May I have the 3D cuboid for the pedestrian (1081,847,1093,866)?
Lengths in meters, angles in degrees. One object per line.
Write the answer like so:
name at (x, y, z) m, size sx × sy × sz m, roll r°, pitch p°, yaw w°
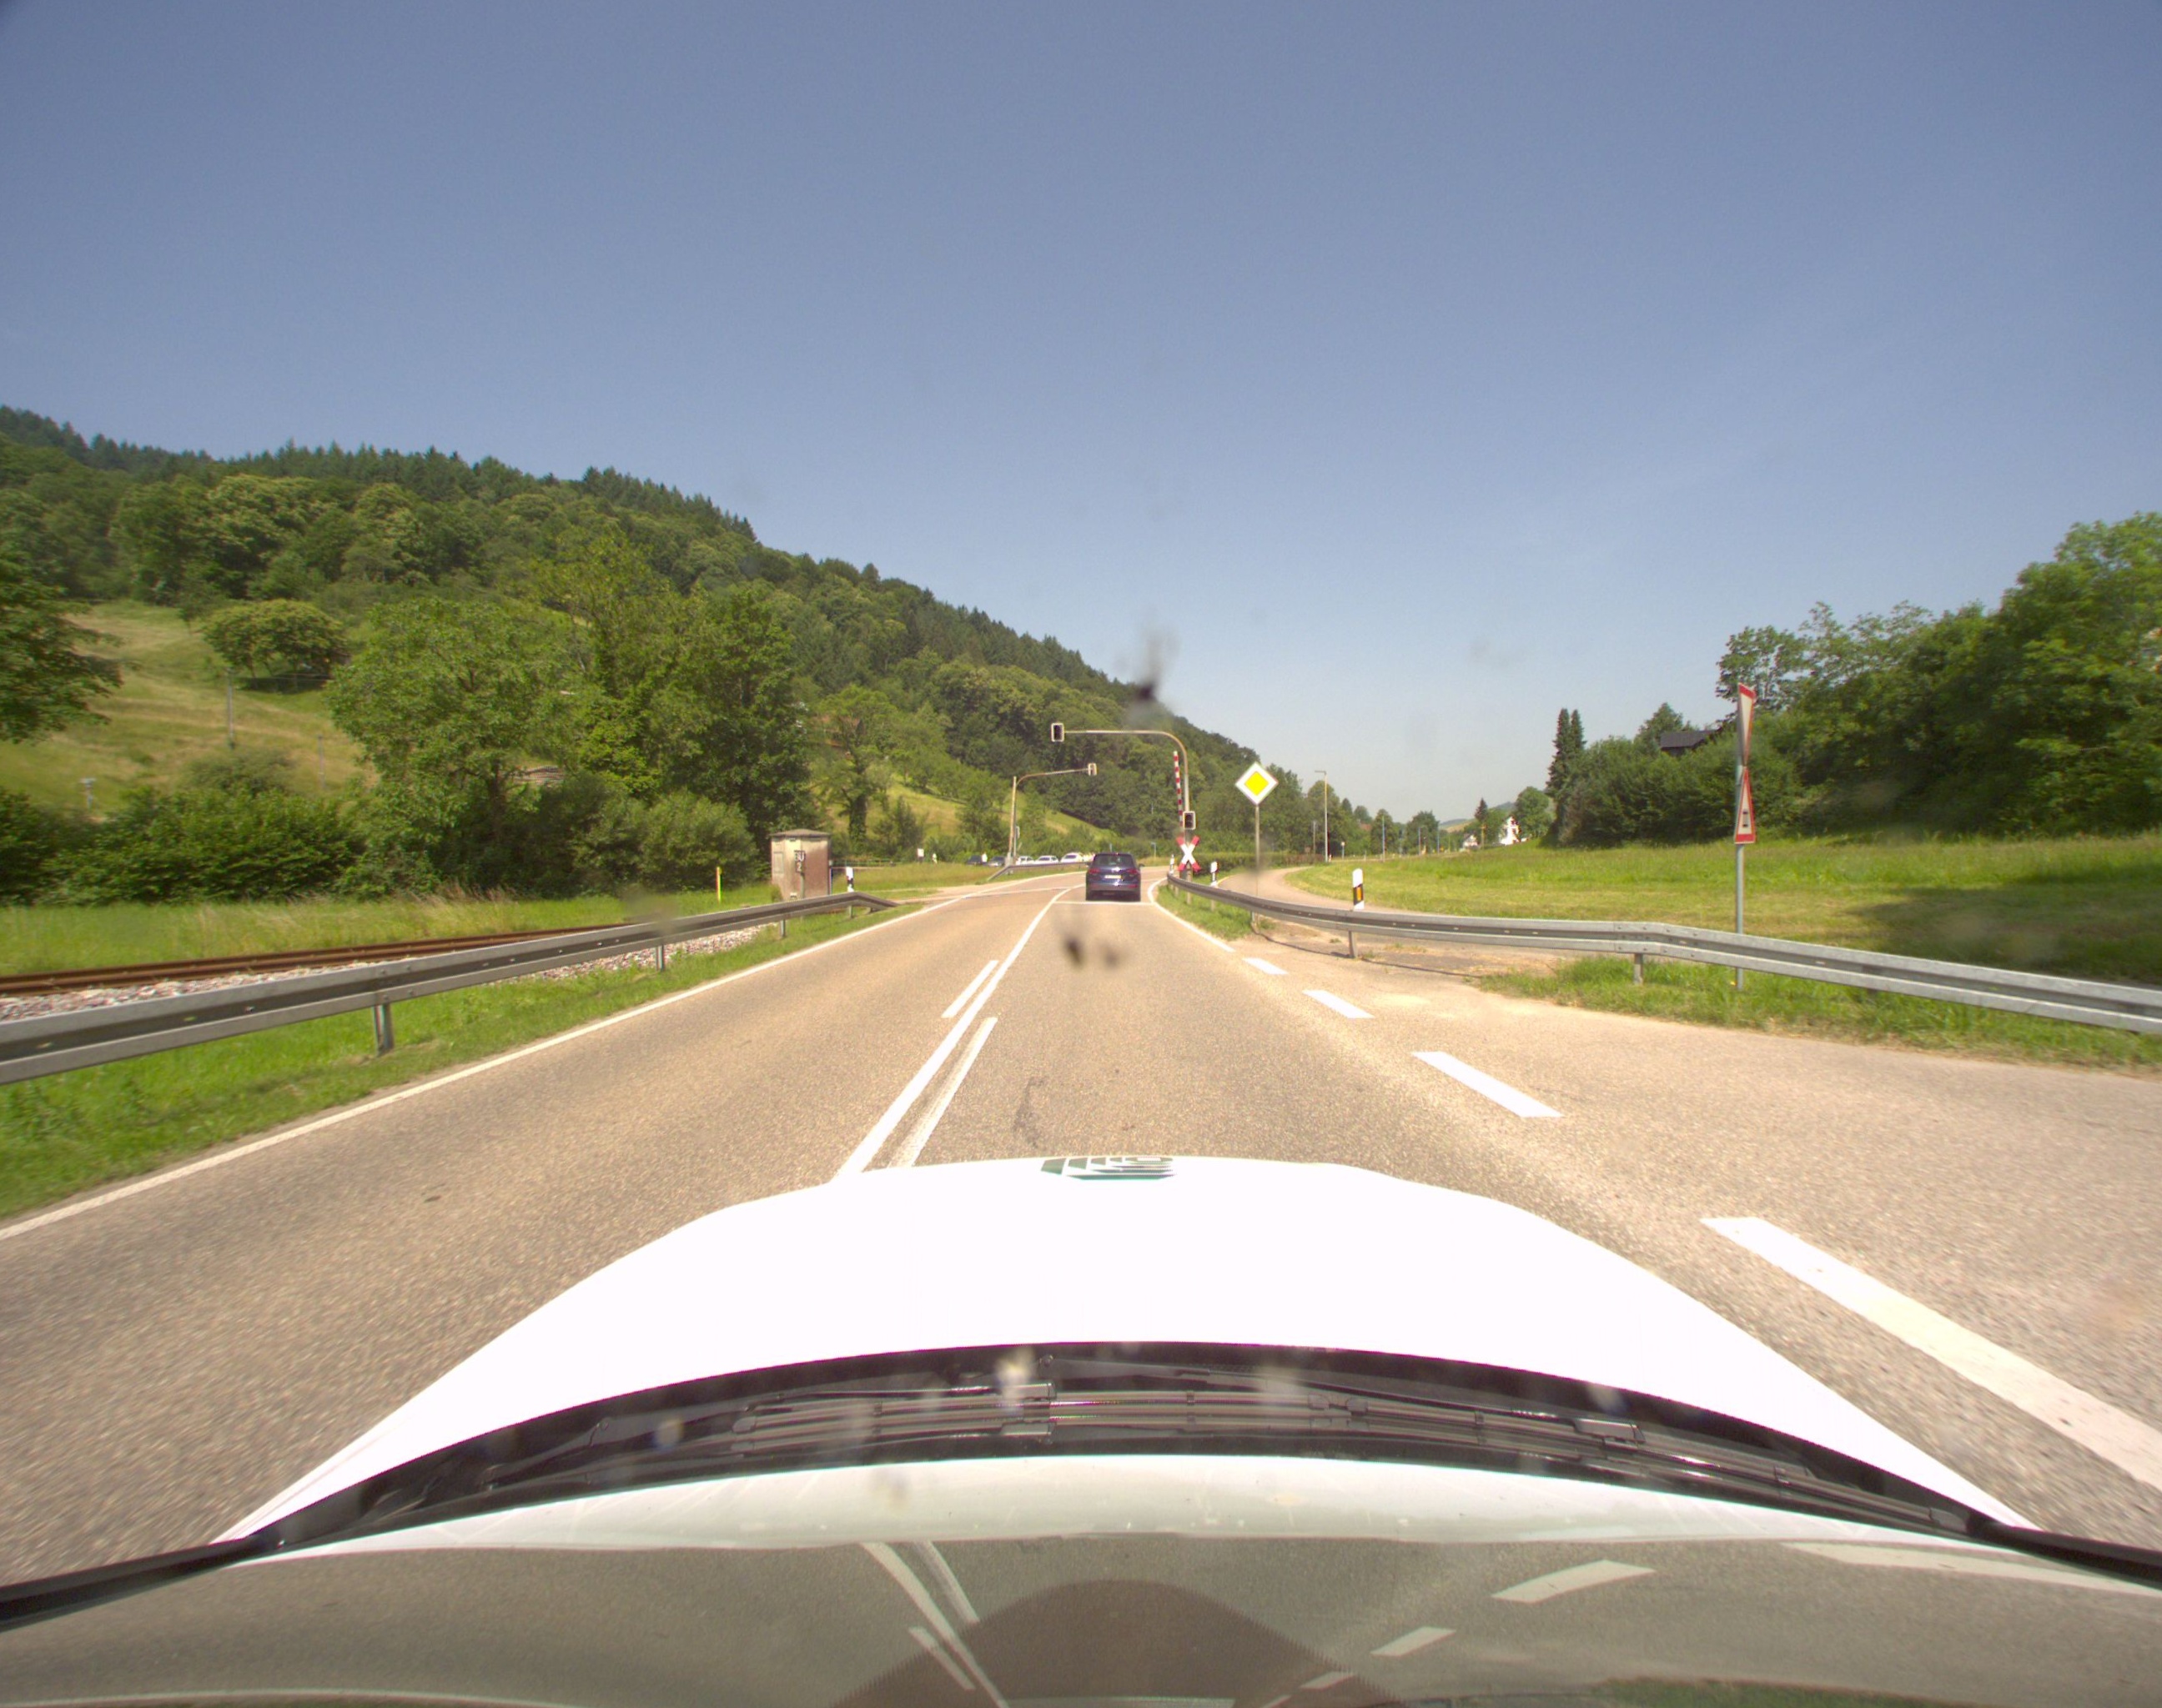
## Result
pedestrian at (0.579, 0.264, 78.064) m, size 0.761 × 1.796 × 0.799 m, roll -3°, pitch -1°, yaw 43°

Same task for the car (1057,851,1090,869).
car at (-0.748, 0.630, 84.935) m, size 1.855 × 1.782 × 4.796 m, roll -1°, pitch 0°, yaw 20°

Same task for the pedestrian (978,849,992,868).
pedestrian at (-9.462, 0.449, 80.056) m, size 0.946 × 1.794 × 1.004 m, roll -2°, pitch 0°, yaw 16°

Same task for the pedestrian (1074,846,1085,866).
pedestrian at (-0.126, 0.192, 76.912) m, size 0.780 × 1.842 × 0.703 m, roll -2°, pitch 0°, yaw 28°

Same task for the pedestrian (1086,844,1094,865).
pedestrian at (0.850, 0.089, 77.162) m, size 0.657 × 1.955 × 0.534 m, roll -2°, pitch 0°, yaw 7°

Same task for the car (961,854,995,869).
car at (-10.993, 0.828, 87.096) m, size 1.979 × 1.501 × 4.539 m, roll -2°, pitch 0°, yaw 15°

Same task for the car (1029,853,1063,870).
car at (-3.593, 0.794, 85.205) m, size 1.978 × 1.641 × 4.923 m, roll -2°, pitch 0°, yaw 17°

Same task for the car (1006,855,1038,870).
car at (-6.187, 0.863, 85.816) m, size 1.979 × 1.501 × 4.539 m, roll -2°, pitch 0°, yaw 15°

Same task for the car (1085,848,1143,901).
car at (1.149, 0.652, 28.008) m, size 1.845 × 1.649 × 4.142 m, roll 0°, pitch 0°, yaw 2°

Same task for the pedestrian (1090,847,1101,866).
pedestrian at (1.404, 0.240, 77.676) m, size 0.775 × 1.859 × 0.641 m, roll -1°, pitch -1°, yaw -40°

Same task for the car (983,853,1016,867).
car at (-8.642, 0.621, 86.293) m, size 1.979 × 1.500 × 4.539 m, roll 0°, pitch 0°, yaw 15°

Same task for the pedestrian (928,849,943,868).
pedestrian at (-14.766, 0.460, 82.594) m, size 1.115 × 1.969 × 0.867 m, roll -3°, pitch -1°, yaw 32°
